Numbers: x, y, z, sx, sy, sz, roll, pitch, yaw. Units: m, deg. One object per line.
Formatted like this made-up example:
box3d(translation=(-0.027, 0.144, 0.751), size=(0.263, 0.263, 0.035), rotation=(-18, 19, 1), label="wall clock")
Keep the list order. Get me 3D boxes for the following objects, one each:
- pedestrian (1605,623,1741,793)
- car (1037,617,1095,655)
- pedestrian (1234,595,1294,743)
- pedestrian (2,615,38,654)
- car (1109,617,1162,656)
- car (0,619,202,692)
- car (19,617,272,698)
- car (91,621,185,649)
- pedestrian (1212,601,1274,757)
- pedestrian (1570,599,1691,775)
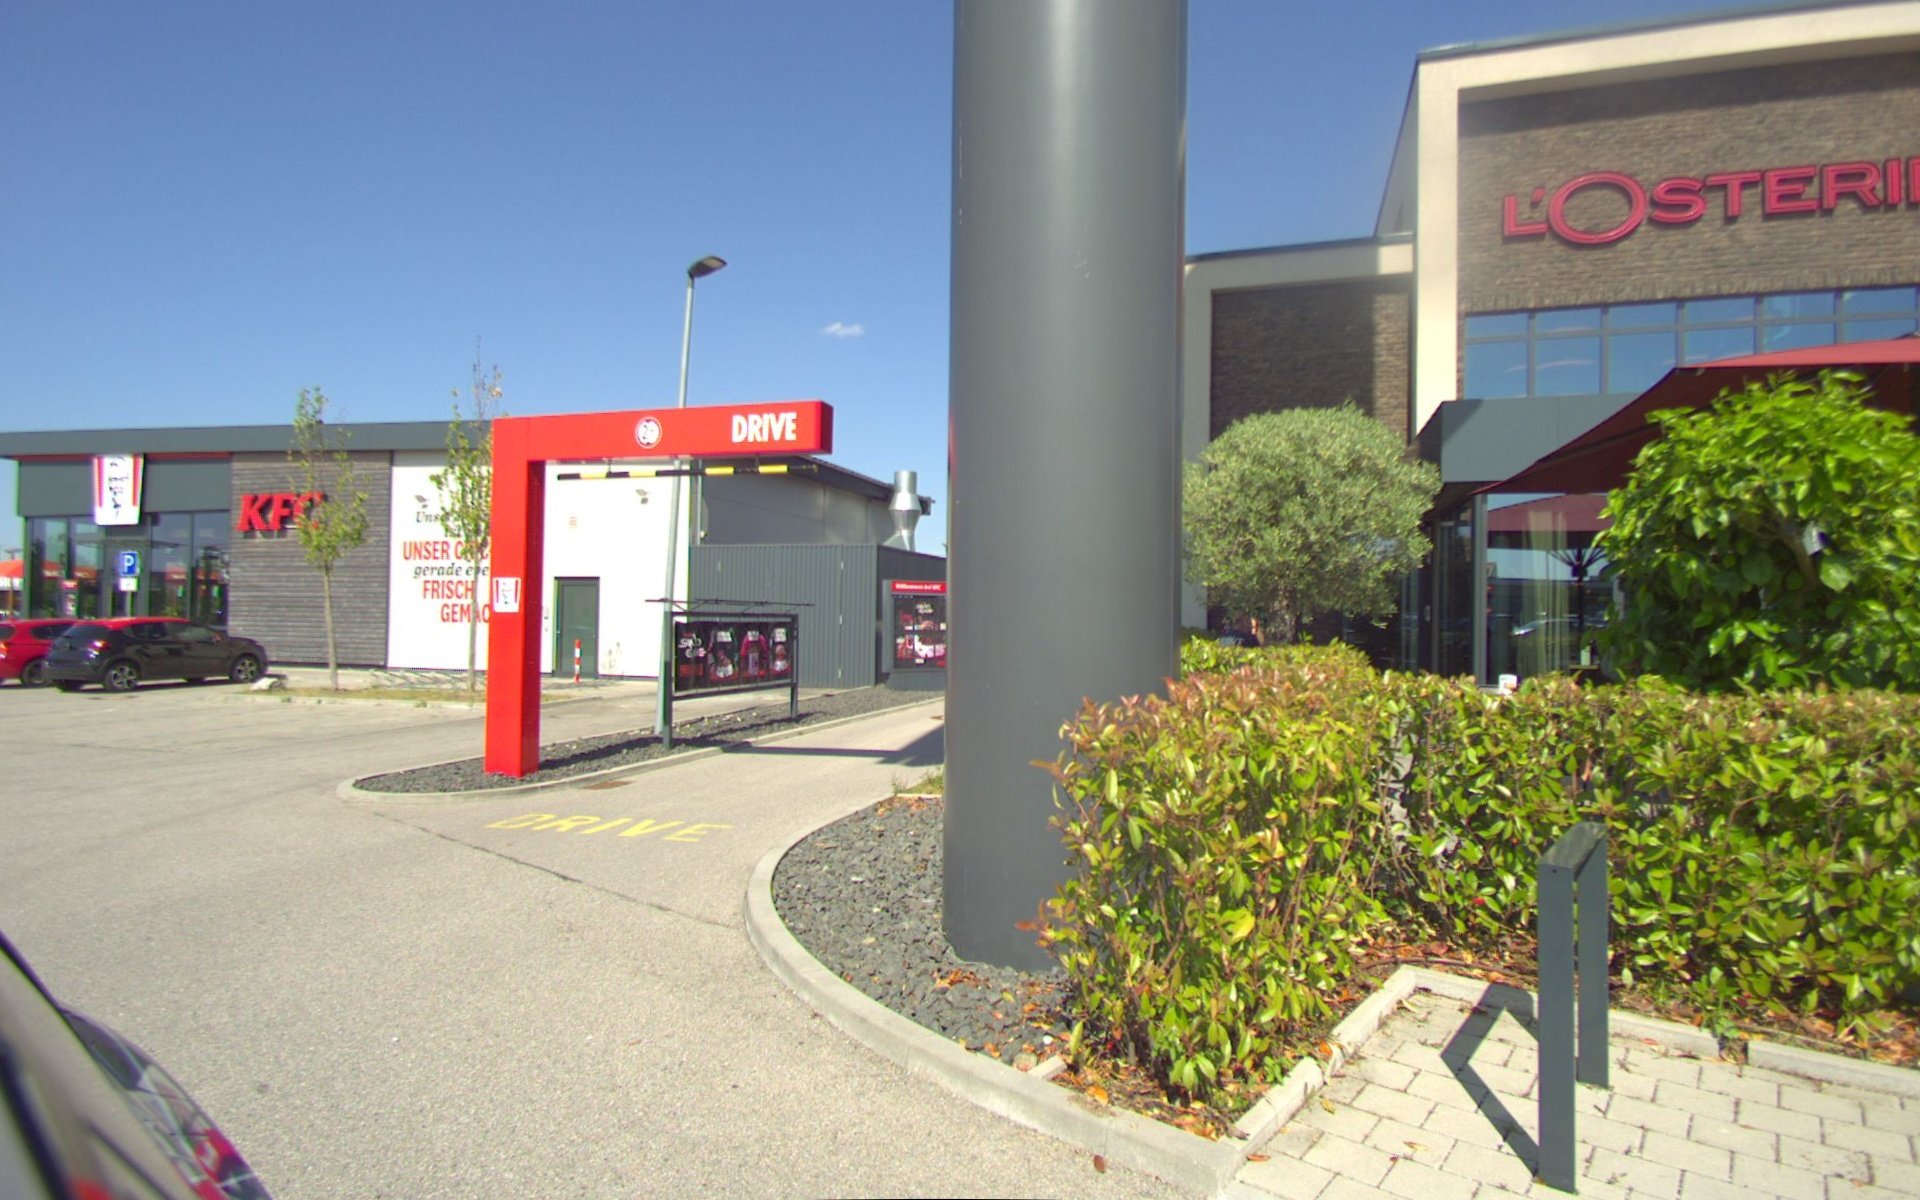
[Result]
box3d(translation=(5.248, 0.767, 7.481), size=(0.474, 1.194, 0.651), rotation=(0, -2, -7), label="pedestrian")
box3d(translation=(4.499, 1.474, 42.523), size=(1.725, 1.518, 3.887), rotation=(-1, -1, 17), label="car")
box3d(translation=(3.204, 0.715, 10.693), size=(0.564, 1.516, 0.523), rotation=(-1, -2, 15), label="pedestrian")
box3d(translation=(-31.367, 1.160, 33.764), size=(0.605, 1.283, 0.624), rotation=(0, -2, 1), label="pedestrian")
box3d(translation=(7.276, 1.476, 41.703), size=(1.725, 1.518, 3.887), rotation=(-1, -1, 17), label="car")
box3d(translation=(-19.571, 1.151, 22.386), size=(1.724, 1.423, 4.380), rotation=(0, -1, 15), label="car")
box3d(translation=(-16.996, 1.132, 21.369), size=(1.725, 1.518, 3.887), rotation=(-1, -1, 17), label="car")
box3d(translation=(-47.454, 1.994, 58.538), size=(3.931, 1.564, 1.760), rotation=(1, -2, -30), label="car")
box3d(translation=(2.851, 0.781, 10.227), size=(0.564, 1.516, 0.523), rotation=(-1, -2, 15), label="pedestrian")
box3d(translation=(5.458, 0.689, 8.264), size=(0.474, 1.377, 0.651), rotation=(0, -2, -7), label="pedestrian")
